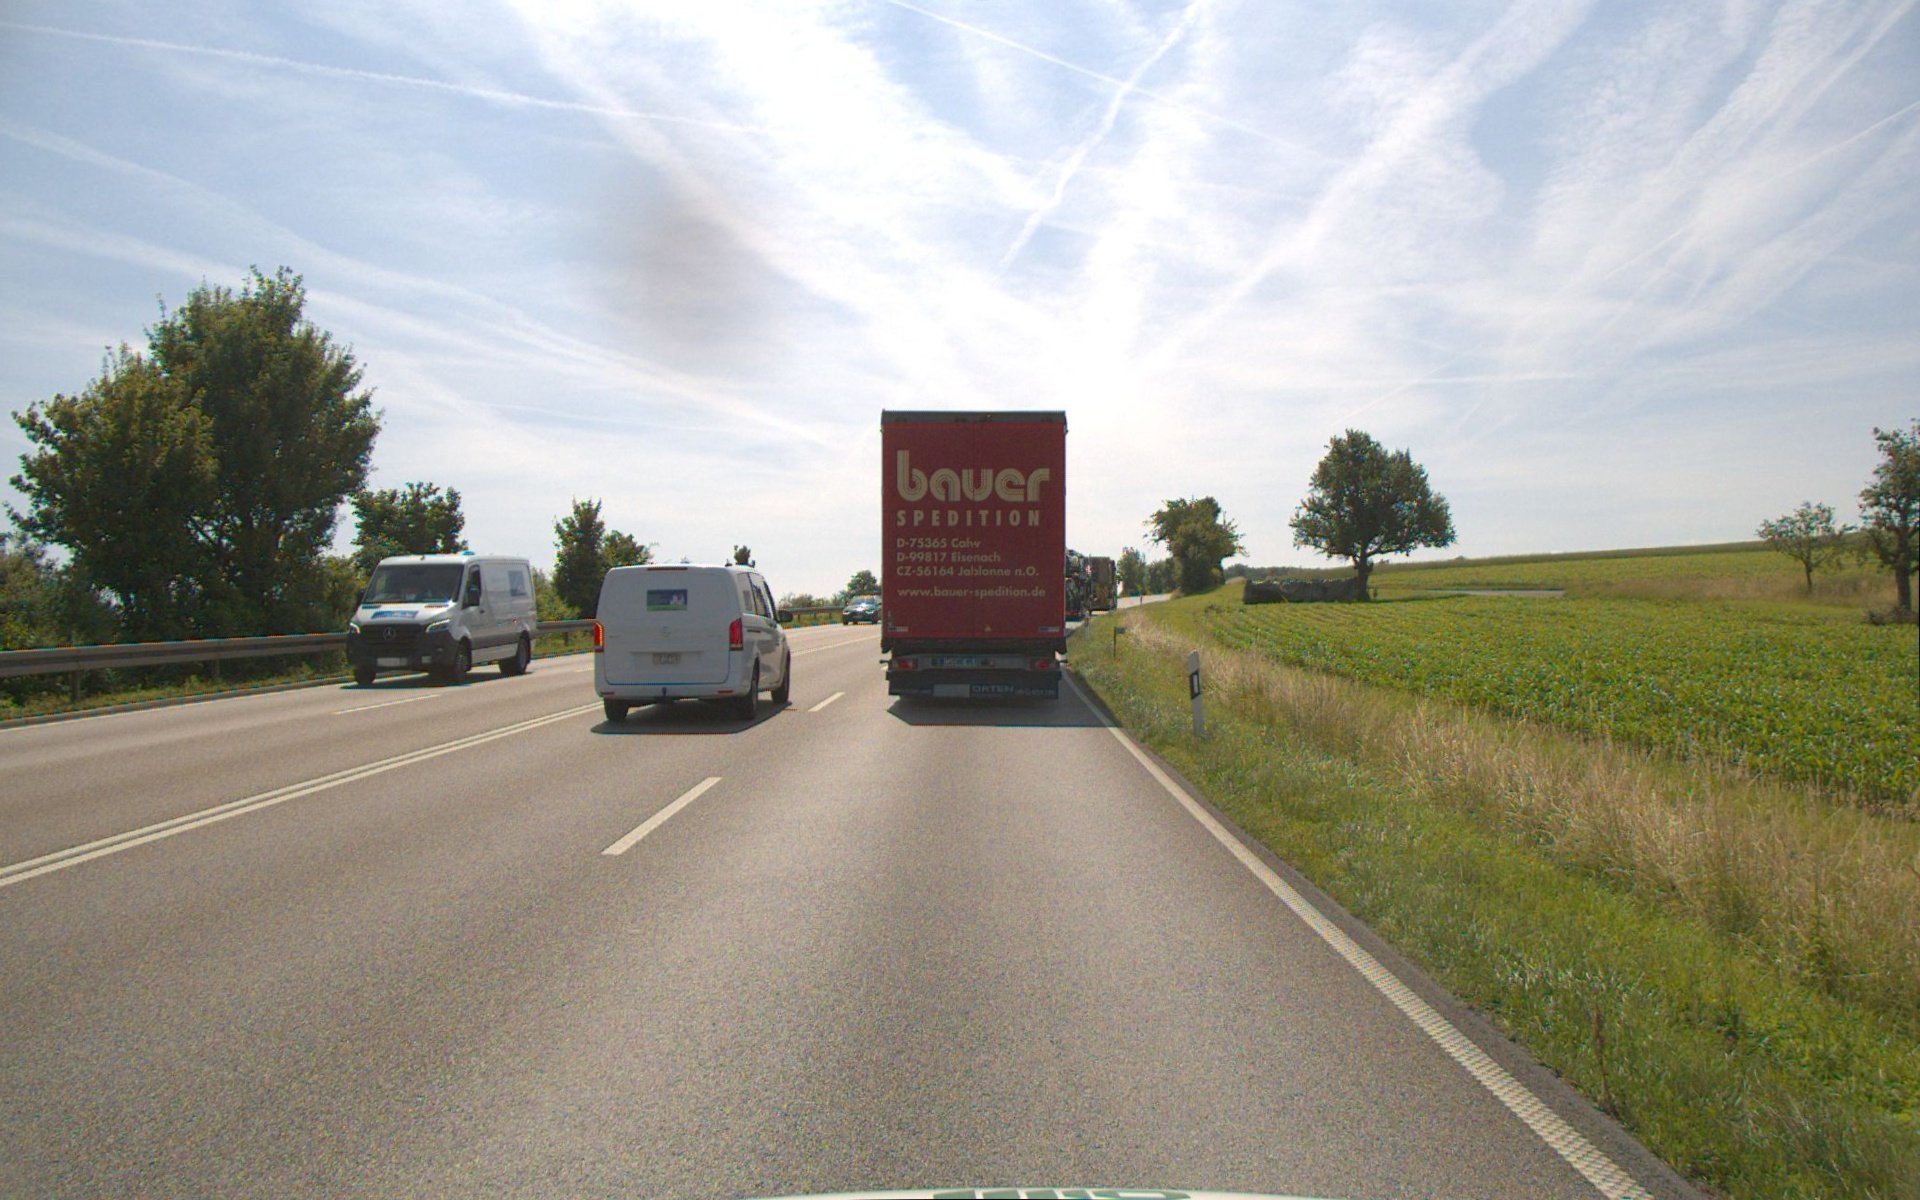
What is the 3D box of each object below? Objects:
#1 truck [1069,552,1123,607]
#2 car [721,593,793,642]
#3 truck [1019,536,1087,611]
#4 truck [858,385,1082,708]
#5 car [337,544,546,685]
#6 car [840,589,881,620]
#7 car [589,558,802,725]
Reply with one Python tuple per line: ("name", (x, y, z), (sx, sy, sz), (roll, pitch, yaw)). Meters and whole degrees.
("truck", (10.803, -1.568, 129.747), (2.982, 3.978, 18.413), (-1, 0, 8))
("car", (-7.016, 0.586, 57.523), (1.775, 1.596, 4.685), (-1, 0, 1))
("truck", (5.562, -1.480, 96.057), (2.982, 3.978, 15.627), (-1, 0, 7))
("truck", (0.049, -0.742, 30.187), (2.946, 4.253, 16.712), (0, 0, -1))
("car", (-9.752, 0.261, 31.715), (2.045, 2.437, 5.845), (-1, 0, 1))
("car", (-5.102, 0.202, 85.377), (1.682, 1.487, 4.217), (1, 1, 2))
("car", (-3.327, 0.476, 21.896), (1.866, 1.917, 5.432), (0, 0, 1))
